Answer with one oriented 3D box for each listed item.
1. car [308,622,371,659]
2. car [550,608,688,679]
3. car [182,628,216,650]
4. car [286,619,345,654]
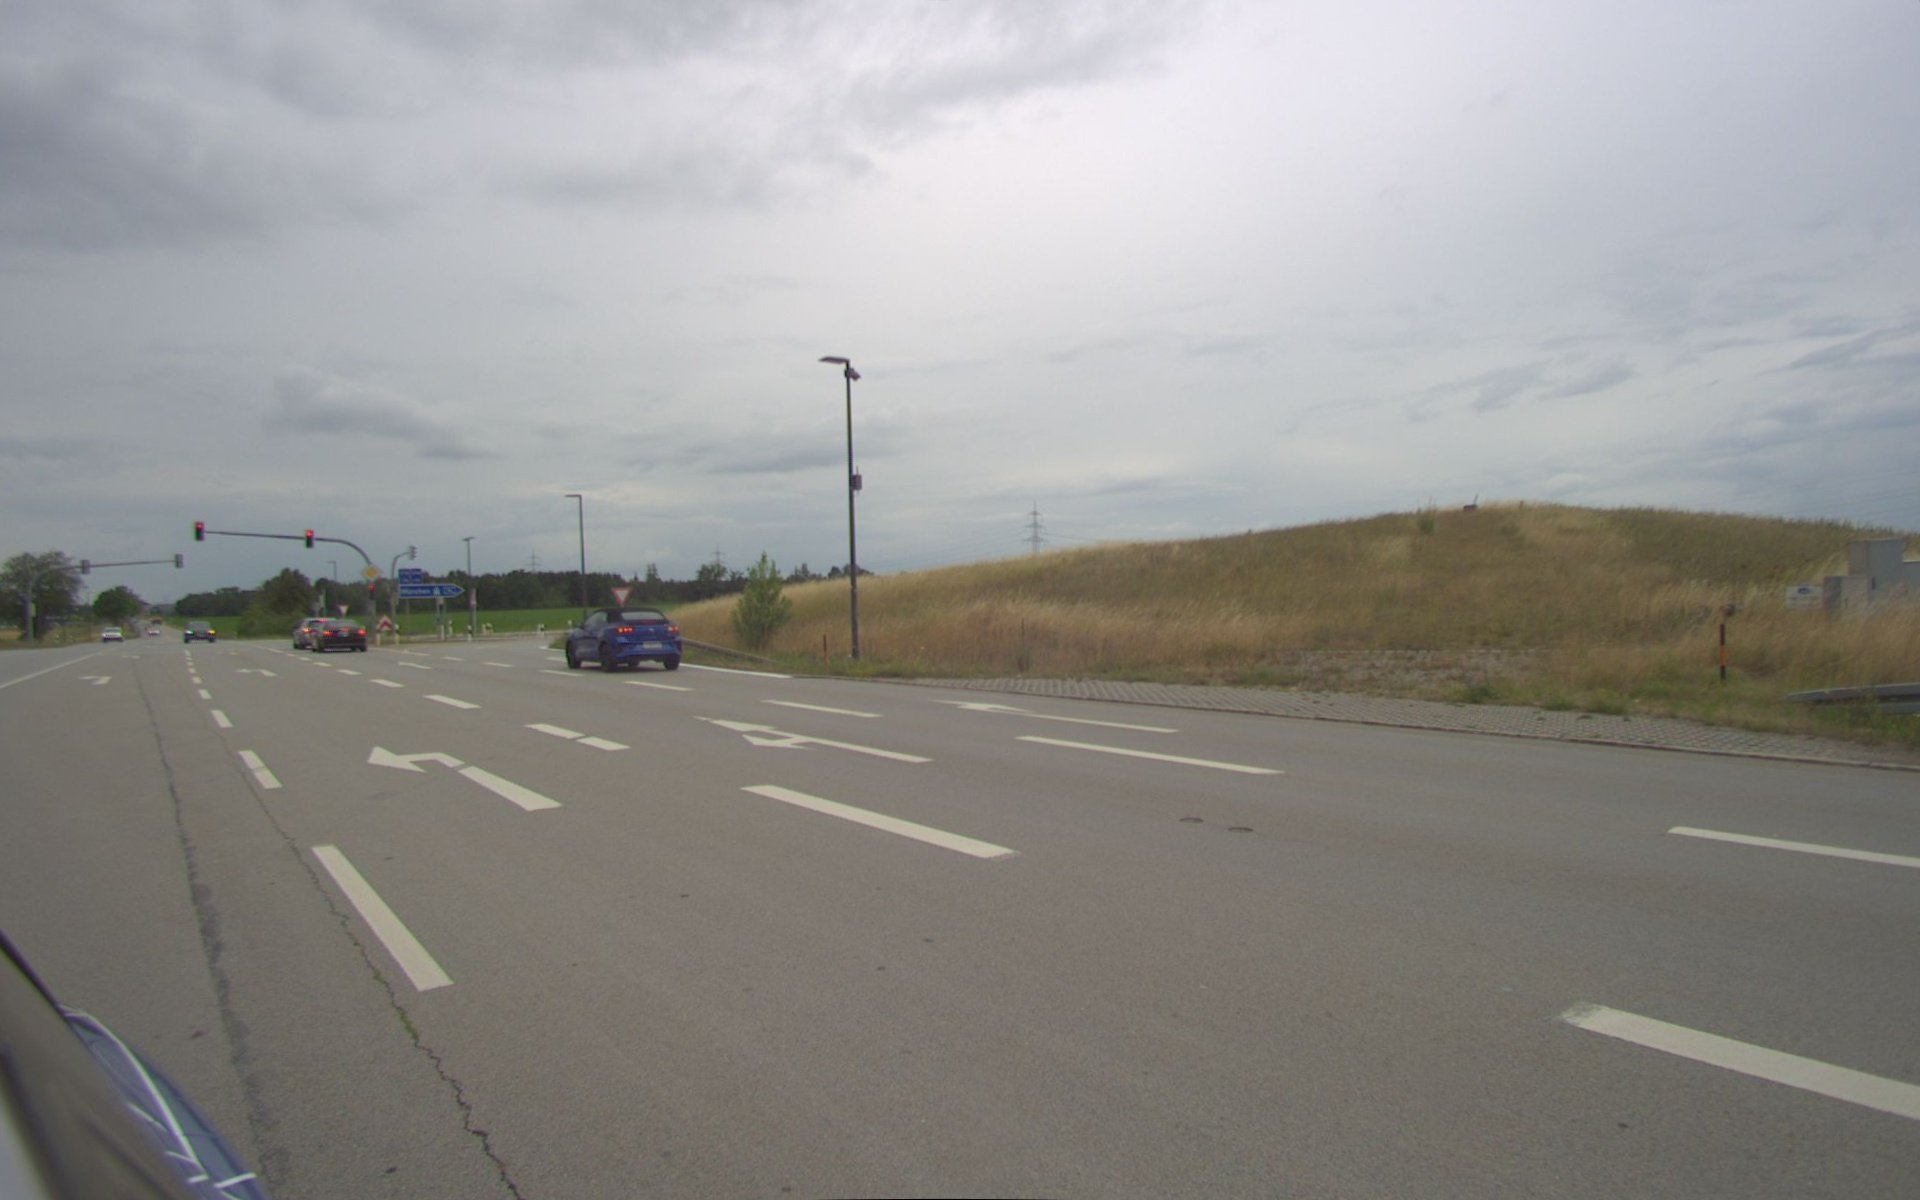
[{"bbox_3d":[-26.570,1.695,43.259,1.685,1.421,4.683,-1,0,-39],"label":"car"},{"bbox_3d":[-8.397,1.006,24.761,1.776,1.562,4.006,-1,0,-41],"label":"car"},{"bbox_3d":[-63.062,3.183,83.894,1.967,1.696,5.012,-1,-1,-34],"label":"car"},{"bbox_3d":[-31.224,1.761,48.961,1.890,1.623,4.958,1,-2,-39],"label":"car"}]
